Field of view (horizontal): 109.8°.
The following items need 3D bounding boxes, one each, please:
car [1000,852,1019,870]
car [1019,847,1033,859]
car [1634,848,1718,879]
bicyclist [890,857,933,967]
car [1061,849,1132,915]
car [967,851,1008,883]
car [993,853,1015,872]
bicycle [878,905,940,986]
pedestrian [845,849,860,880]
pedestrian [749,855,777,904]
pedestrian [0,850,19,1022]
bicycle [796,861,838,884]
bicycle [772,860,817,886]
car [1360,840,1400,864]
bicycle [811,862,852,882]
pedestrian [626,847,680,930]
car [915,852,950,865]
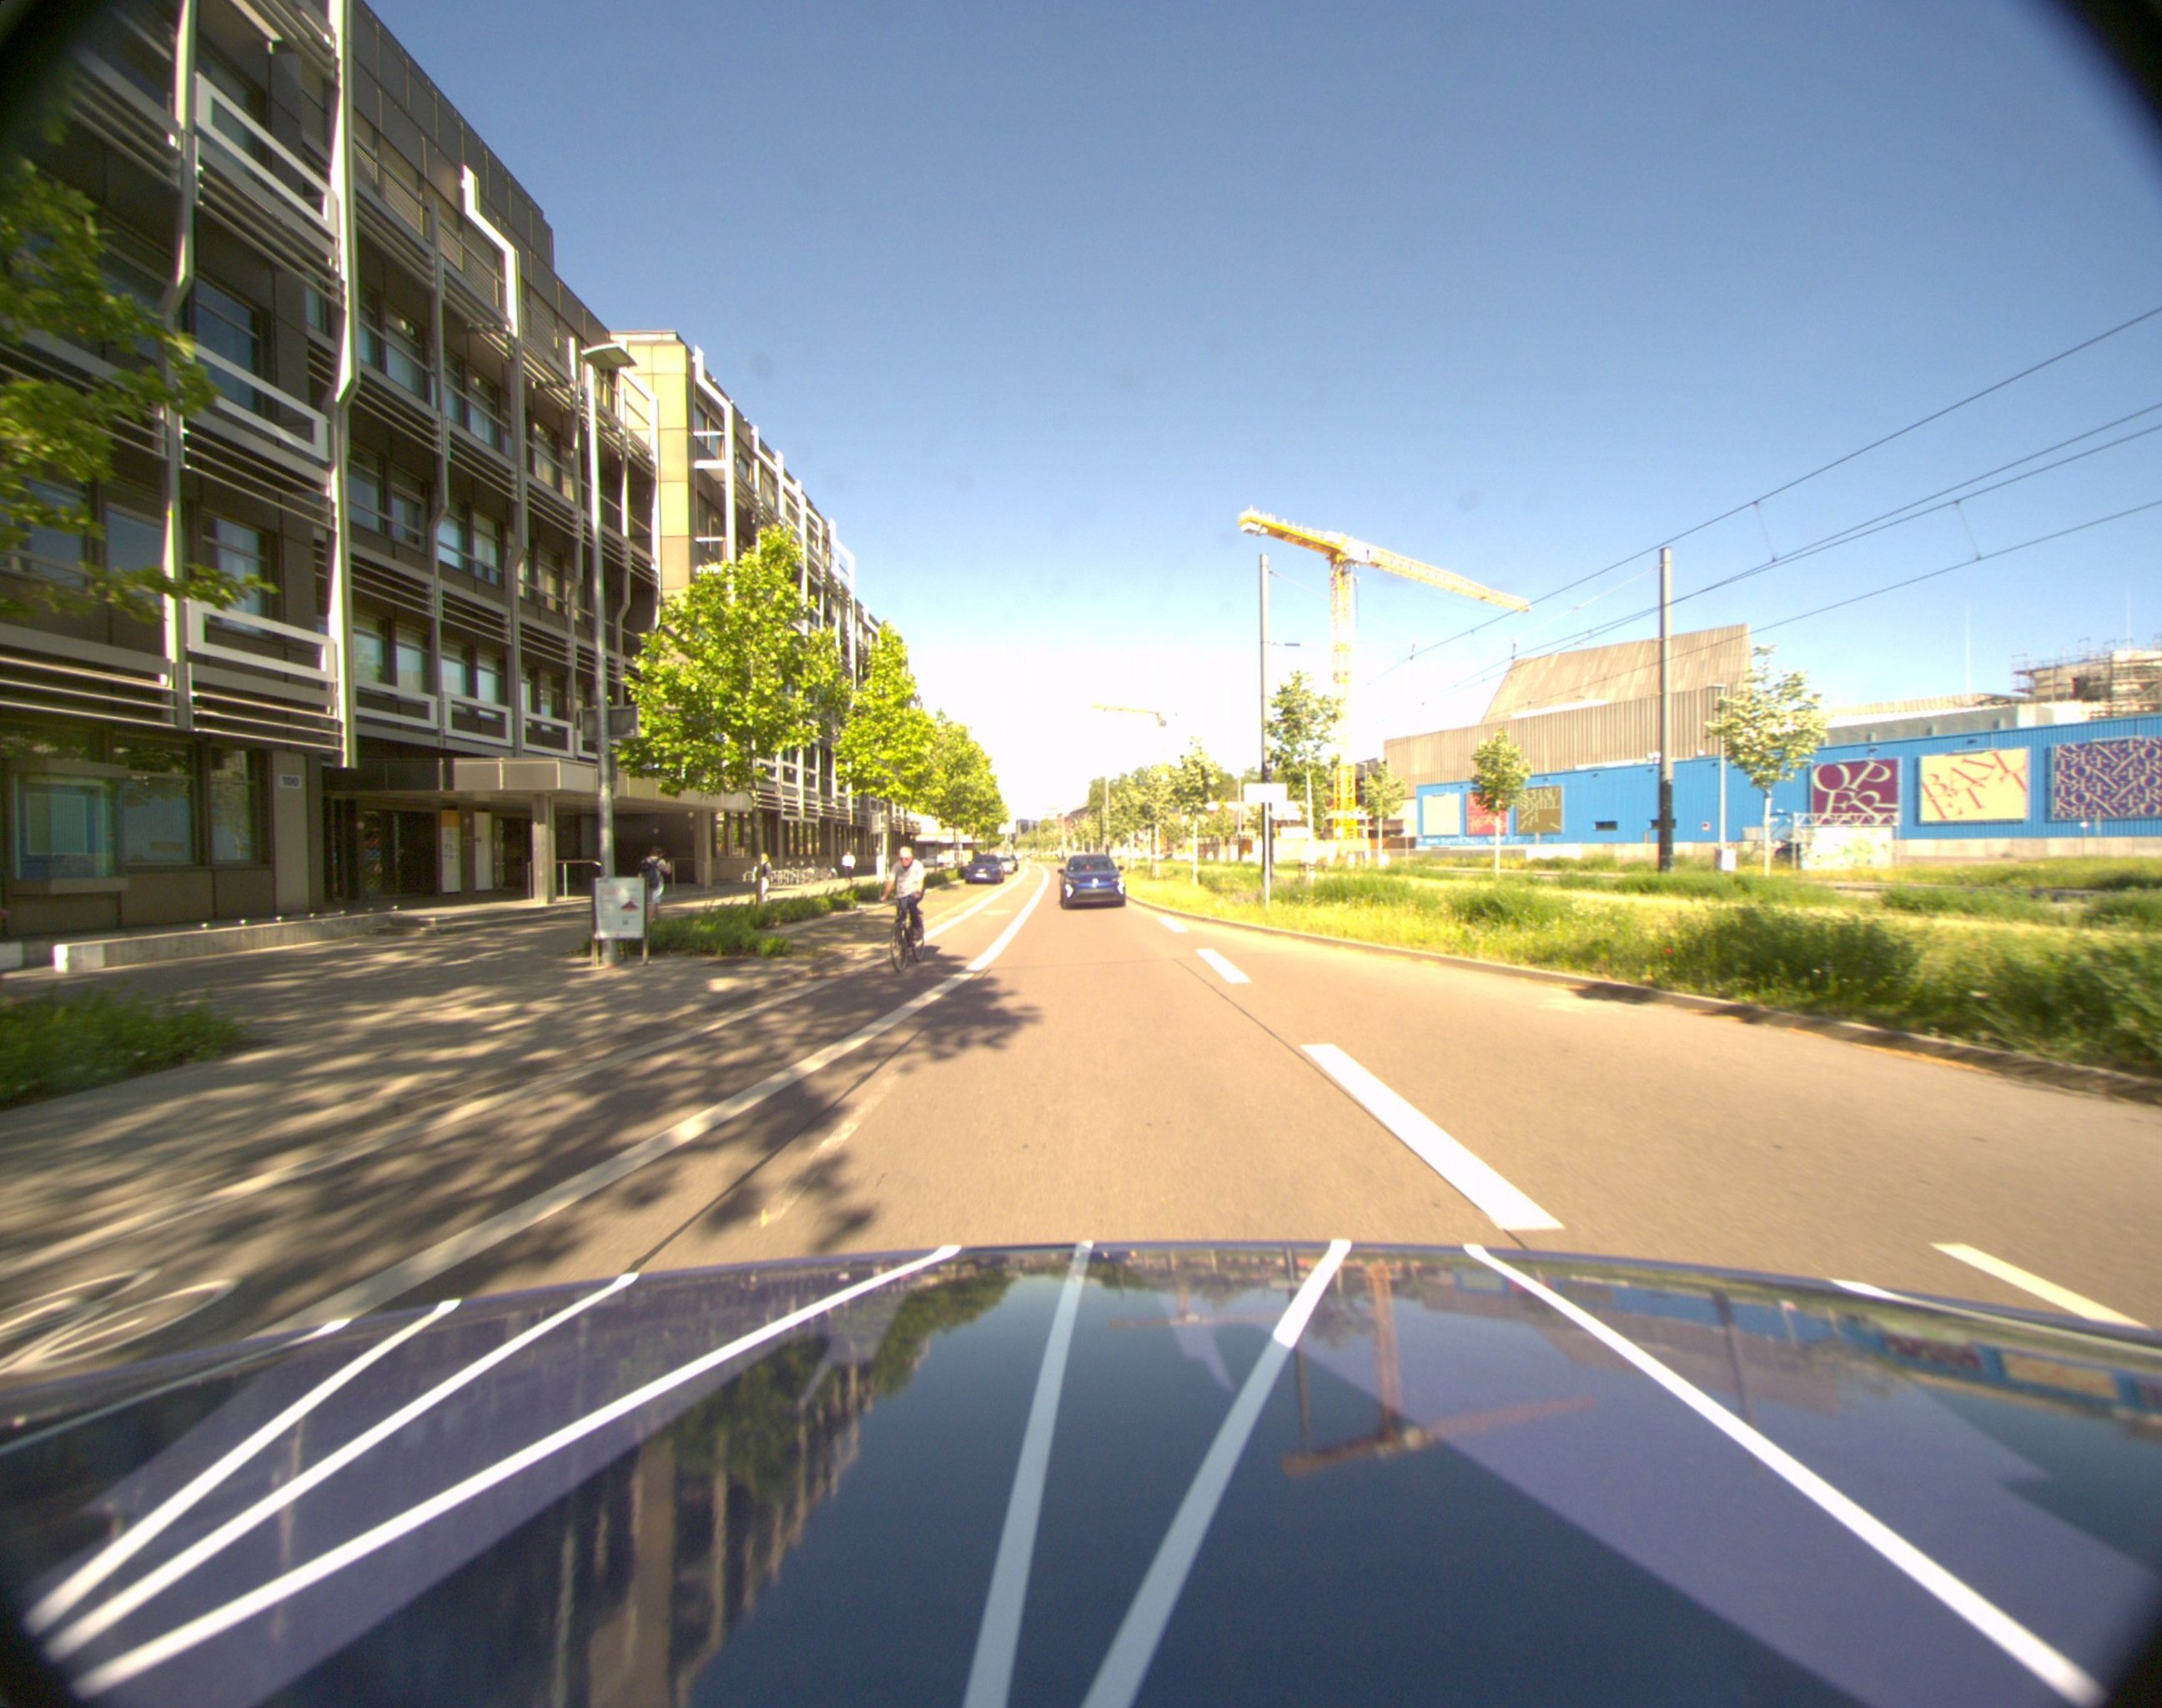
[{"bbox_3d":[-6.930,0.626,73.615,1.753,1.649,4.467,-1,1,-5],"label":"car"},{"bbox_3d":[-8.956,-0.166,124.238,1.822,1.784,3.999,-3,1,2],"label":"car"},{"bbox_3d":[33.263,0.499,42.596,1.562,1.527,3.856,-3,1,-2],"label":"car"},{"bbox_3d":[-2.537,0.852,11.380,0.514,1.592,0.536,-1,1,-3],"label":"bicyclist"},{"bbox_3d":[0.409,0.725,21.932,1.749,1.613,4.152,-4,0,0],"label":"car"},{"bbox_3d":[-5.258,0.691,43.311,1.854,1.647,4.847,1,0,-1],"label":"car"},{"bbox_3d":[-6.172,0.666,61.376,1.622,1.456,4.153,1,0,-3],"label":"car"},{"bbox_3d":[-2.530,1.309,11.354,0.499,0.900,2.196,-3,1,-3],"label":"bicycle"},{"bbox_3d":[-11.931,0.543,39.644,0.512,1.613,0.674,1,1,1],"label":"pedestrian"},{"bbox_3d":[-9.755,0.758,23.332,0.512,1.466,0.736,-1,1,1],"label":"pedestrian"},{"bbox_3d":[-10.937,0.818,7.230,0.512,1.691,0.774,-1,1,1],"label":"pedestrian"},{"bbox_3d":[-12.481,0.864,35.954,1.862,1.005,0.427,1,1,2],"label":"bicycle"},{"bbox_3d":[-12.984,0.856,34.402,1.862,1.091,0.426,1,1,2],"label":"bicycle"},{"bbox_3d":[24.692,-0.207,62.897,1.802,1.788,3.999,-3,1,2],"label":"car"},{"bbox_3d":[-12.223,0.900,37.276,1.862,0.933,0.427,1,1,2],"label":"bicycle"},{"bbox_3d":[-9.132,0.709,16.246,0.649,1.718,0.803,-1,1,1],"label":"pedestrian"},{"bbox_3d":[-19.291,0.572,98.714,4.410,1.535,1.851,-1,1,-15],"label":"car"}]
